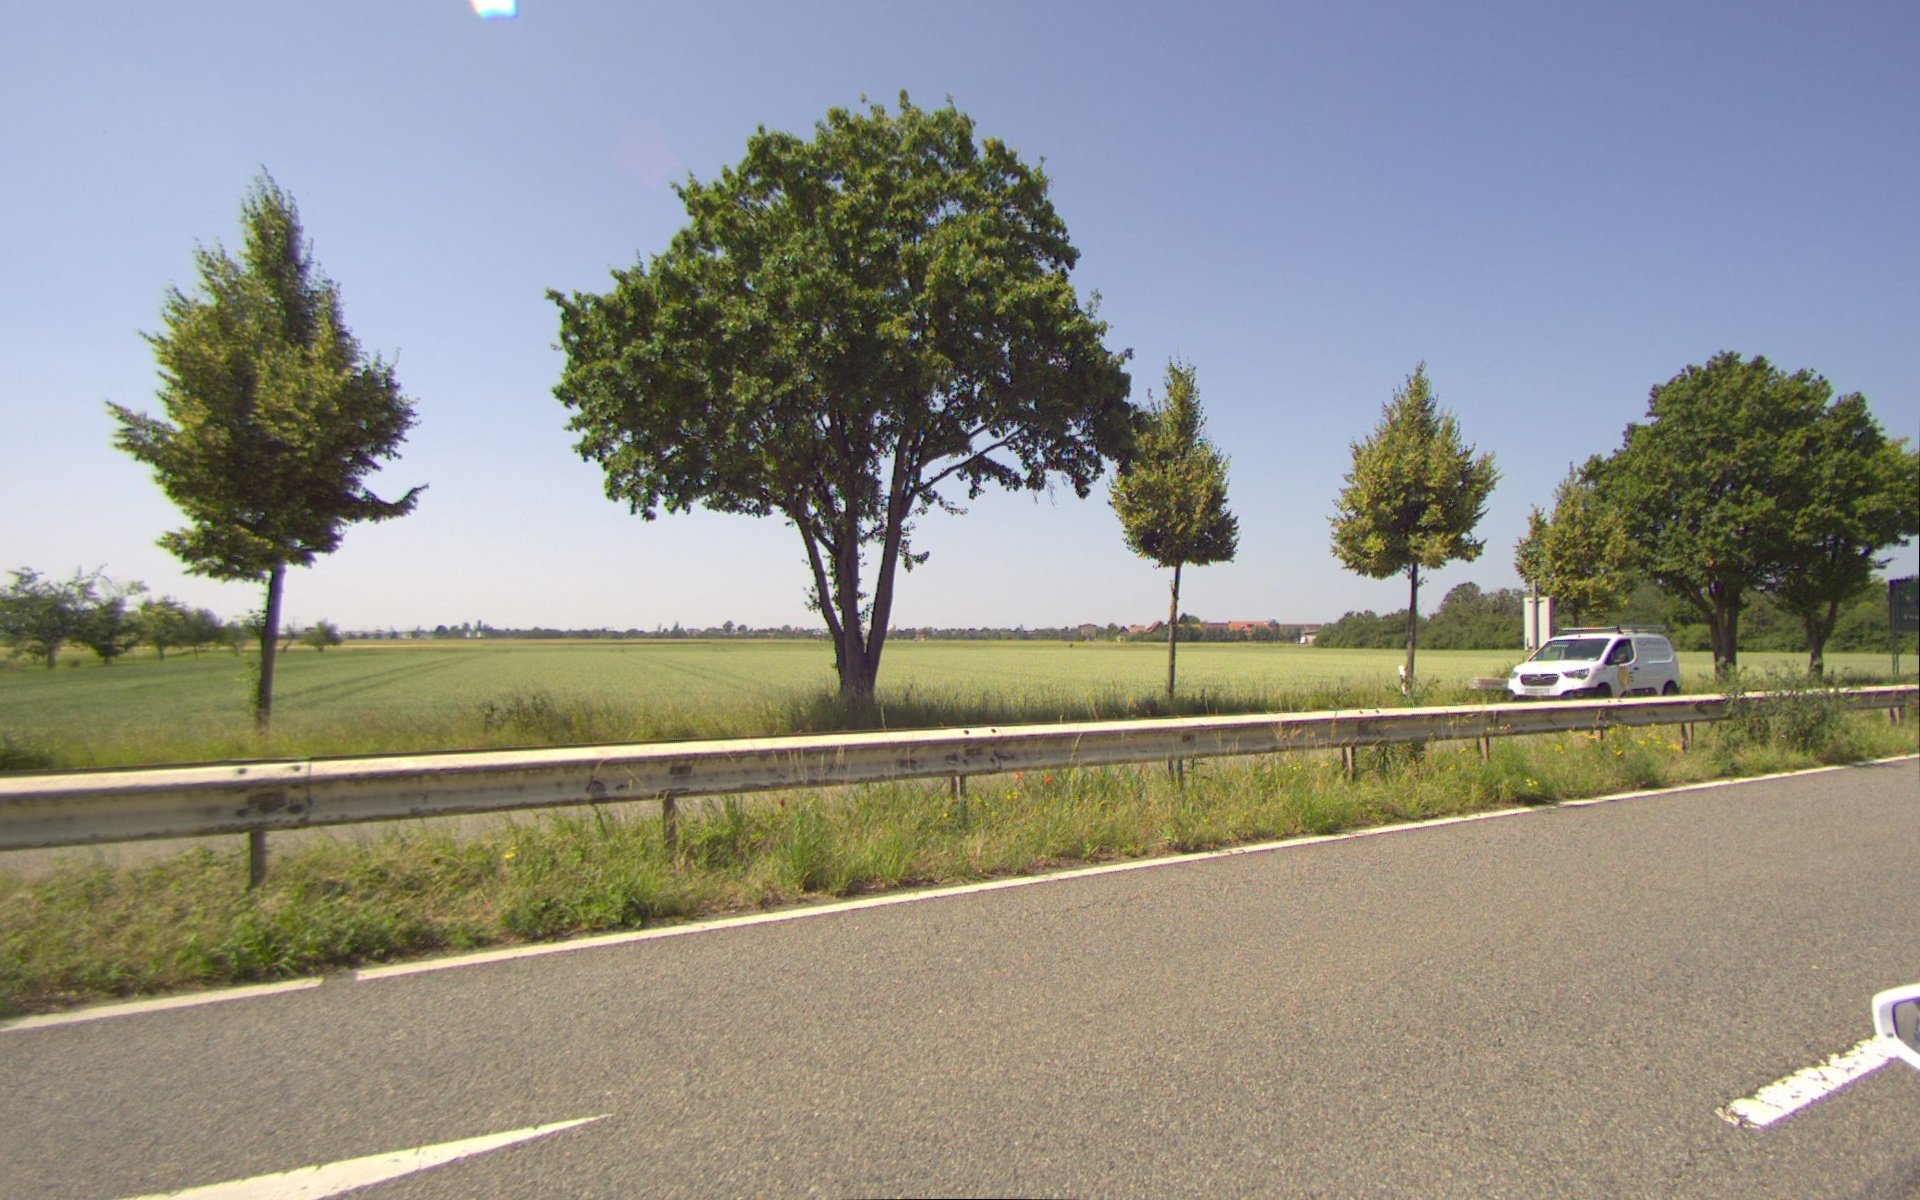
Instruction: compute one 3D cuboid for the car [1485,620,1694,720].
[{"bbox_3d":[14.045,1.507,22.391,4.476,2.040,2.030,1,-2,-29],"label":"car"}]
